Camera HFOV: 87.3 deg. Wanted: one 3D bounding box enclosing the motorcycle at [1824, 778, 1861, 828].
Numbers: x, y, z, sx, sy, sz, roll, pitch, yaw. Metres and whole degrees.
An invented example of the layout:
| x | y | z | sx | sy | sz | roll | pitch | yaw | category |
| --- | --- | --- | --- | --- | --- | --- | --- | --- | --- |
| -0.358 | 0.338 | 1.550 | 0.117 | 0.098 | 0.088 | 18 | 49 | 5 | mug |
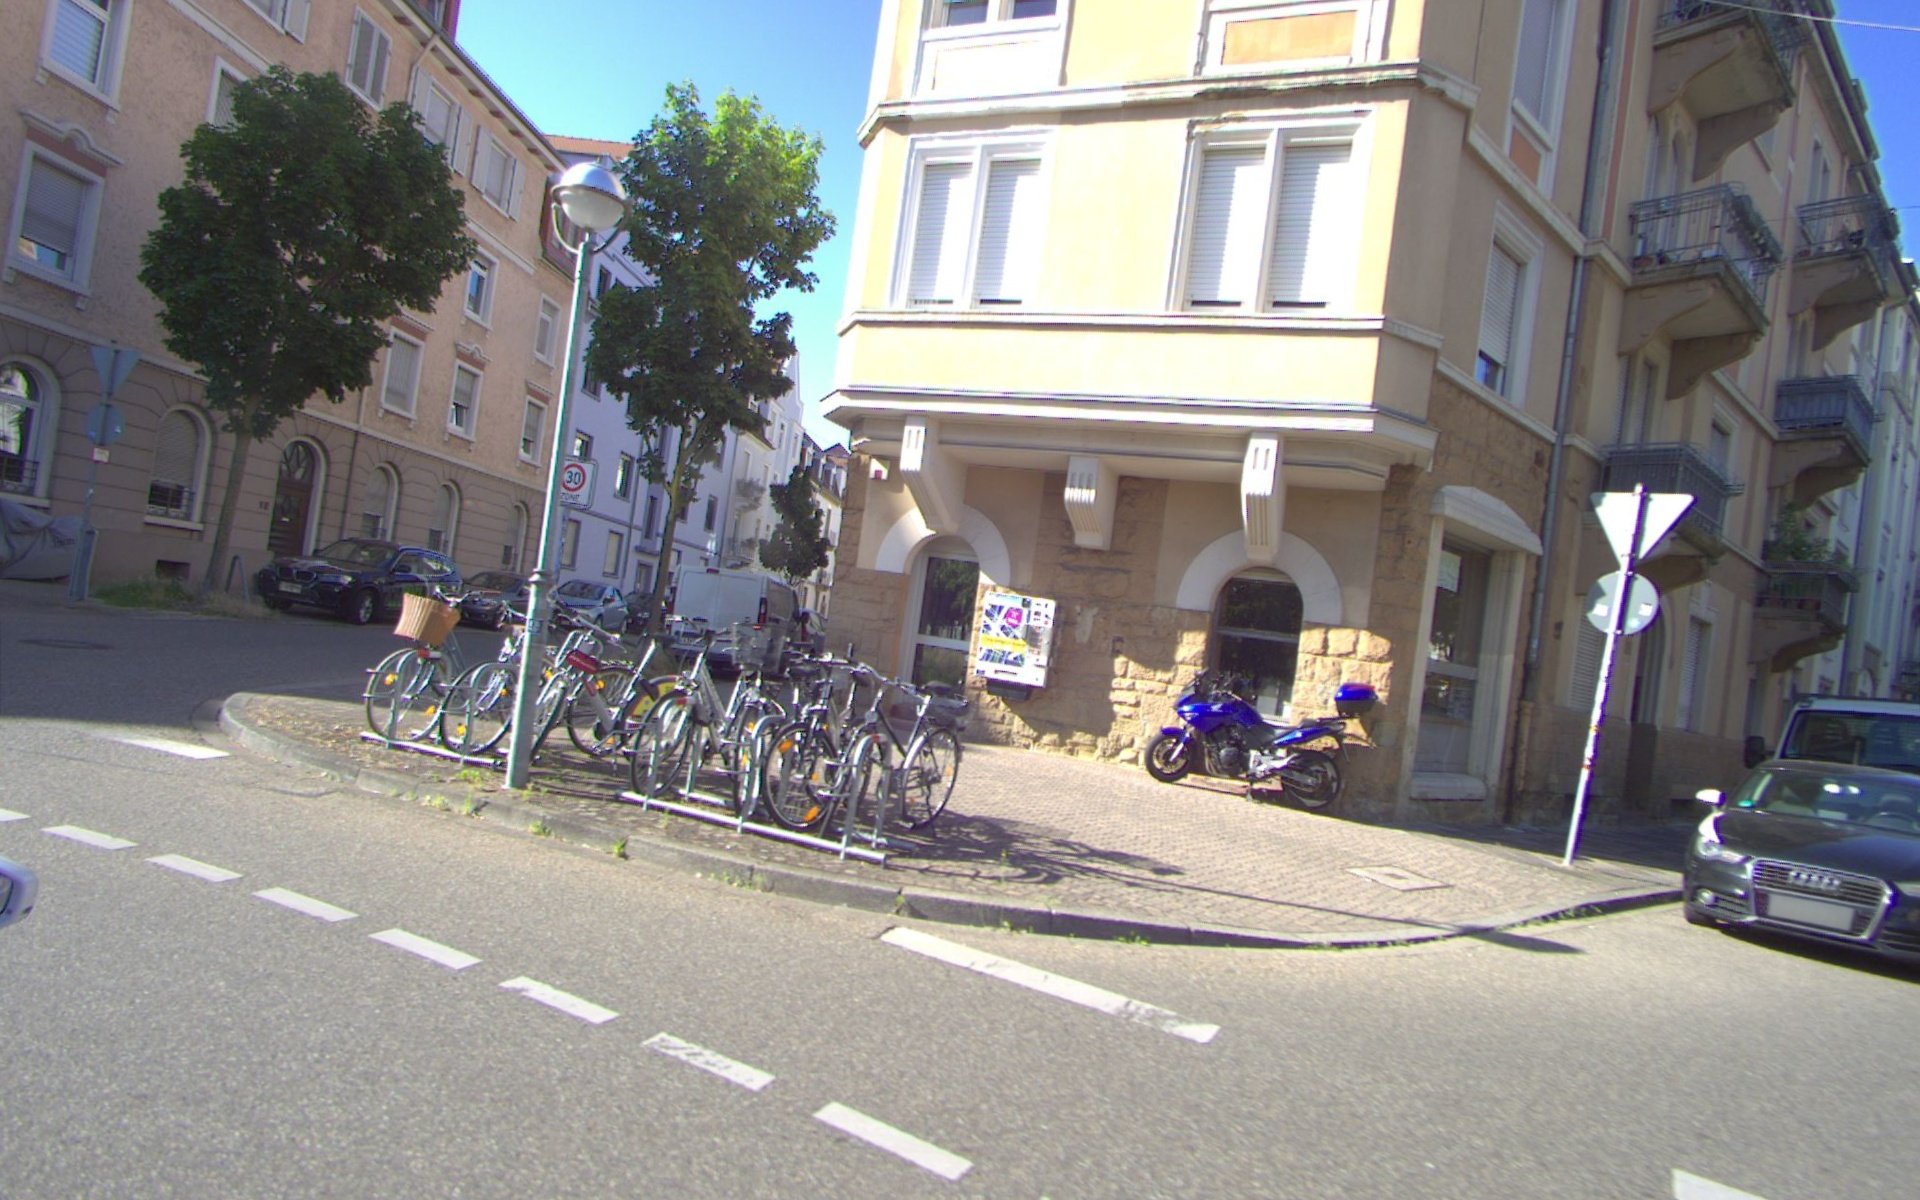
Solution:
| x | y | z | sx | sy | sz | roll | pitch | yaw | category |
| --- | --- | --- | --- | --- | --- | --- | --- | --- | --- |
| 21.969 | 5.025 | 25.034 | 1.790 | 1.120 | 0.494 | 10 | -3 | -44 | motorcycle |

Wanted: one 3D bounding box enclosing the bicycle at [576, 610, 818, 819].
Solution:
| x | y | z | sx | sy | sz | roll | pitch | yaw | category |
| --- | --- | --- | --- | --- | --- | --- | --- | --- | --- |
| -1.691 | 0.743 | 6.793 | 0.605 | 1.158 | 1.698 | 7 | -2 | 19 | bicycle |

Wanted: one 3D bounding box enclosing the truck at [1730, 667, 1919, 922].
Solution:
| x | y | z | sx | sy | sz | roll | pitch | yaw | category |
| --- | --- | --- | --- | --- | --- | --- | --- | --- | --- |
| 11.442 | 2.342 | 12.190 | 6.582 | 2.317 | 2.115 | 10 | -4 | -42 | truck |

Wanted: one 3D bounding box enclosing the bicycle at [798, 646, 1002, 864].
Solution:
| x | y | z | sx | sy | sz | roll | pitch | yaw | category |
| --- | --- | --- | --- | --- | --- | --- | --- | --- | --- |
| -0.307 | 0.923 | 6.374 | 0.474 | 1.136 | 1.720 | 7 | -2 | 22 | bicycle |

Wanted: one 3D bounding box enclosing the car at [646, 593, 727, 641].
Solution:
| x | y | z | sx | sy | sz | roll | pitch | yaw | category |
| --- | --- | --- | --- | --- | --- | --- | --- | --- | --- |
| -10.790 | 0.720 | 39.931 | 1.670 | 1.542 | 3.775 | 8 | -2 | 6 | car |

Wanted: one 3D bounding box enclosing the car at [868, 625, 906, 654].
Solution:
| x | y | z | sx | sy | sz | roll | pitch | yaw | category |
| --- | --- | --- | --- | --- | --- | --- | --- | --- | --- |
| -4.547 | 2.511 | 63.003 | 1.607 | 1.499 | 3.339 | 8 | -2 | 8 | car |

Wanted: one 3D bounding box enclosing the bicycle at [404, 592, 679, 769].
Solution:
| x | y | z | sx | sy | sz | roll | pitch | yaw | category |
| --- | --- | --- | --- | --- | --- | --- | --- | --- | --- |
| -3.005 | 0.610 | 7.460 | 0.526 | 1.102 | 1.878 | 7 | -2 | 27 | bicycle |

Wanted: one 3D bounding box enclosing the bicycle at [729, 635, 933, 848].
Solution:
| x | y | z | sx | sy | sz | roll | pitch | yaw | category |
| --- | --- | --- | --- | --- | --- | --- | --- | --- | --- |
| -0.761 | 0.866 | 6.507 | 0.474 | 1.136 | 1.698 | 7 | -2 | 19 | bicycle |

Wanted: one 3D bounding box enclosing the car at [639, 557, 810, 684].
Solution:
| x | y | z | sx | sy | sz | roll | pitch | yaw | category |
| --- | --- | --- | --- | --- | --- | --- | --- | --- | --- |
| -4.446 | 0.465 | 19.823 | 2.102 | 1.930 | 4.565 | 8 | -2 | 0 | car |

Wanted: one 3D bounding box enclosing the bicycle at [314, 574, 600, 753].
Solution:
| x | y | z | sx | sy | sz | roll | pitch | yaw | category |
| --- | --- | --- | --- | --- | --- | --- | --- | --- | --- |
| -3.740 | 0.510 | 7.696 | 0.687 | 1.142 | 1.869 | 6 | -3 | 21 | bicycle |

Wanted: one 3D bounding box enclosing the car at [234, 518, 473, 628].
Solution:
| x | y | z | sx | sy | sz | roll | pitch | yaw | category |
| --- | --- | --- | --- | --- | --- | --- | --- | --- | --- |
| -12.033 | -0.429 | 20.381 | 1.873 | 1.660 | 4.352 | 8 | -2 | 2 | car |

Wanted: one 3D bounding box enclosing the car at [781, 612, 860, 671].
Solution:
| x | y | z | sx | sy | sz | roll | pitch | yaw | category |
| --- | --- | --- | --- | --- | --- | --- | --- | --- | --- |
| -4.081 | 1.244 | 29.977 | 1.608 | 1.444 | 3.337 | 8 | -2 | 2 | car |

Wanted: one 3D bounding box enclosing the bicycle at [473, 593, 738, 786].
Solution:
| x | y | z | sx | sy | sz | roll | pitch | yaw | category |
| --- | --- | --- | --- | --- | --- | --- | --- | --- | --- |
| -2.453 | 0.642 | 7.192 | 0.627 | 1.158 | 1.696 | 7 | -2 | 27 | bicycle |

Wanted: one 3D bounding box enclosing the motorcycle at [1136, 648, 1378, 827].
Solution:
| x | y | z | sx | sy | sz | roll | pitch | yaw | category |
| --- | --- | --- | --- | --- | --- | --- | --- | --- | --- |
| 3.125 | 1.408 | 10.686 | 2.209 | 1.428 | 0.700 | 9 | 0 | 19 | motorcycle |

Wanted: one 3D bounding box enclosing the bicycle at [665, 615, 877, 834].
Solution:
| x | y | z | sx | sy | sz | roll | pitch | yaw | category |
| --- | --- | --- | --- | --- | --- | --- | --- | --- | --- |
| -1.168 | 0.783 | 6.619 | 0.443 | 1.205 | 1.698 | 7 | -2 | 19 | bicycle |

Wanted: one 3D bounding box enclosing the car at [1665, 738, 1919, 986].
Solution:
| x | y | z | sx | sy | sz | roll | pitch | yaw | category |
| --- | --- | --- | --- | --- | --- | --- | --- | --- | --- |
| 7.284 | 2.020 | 8.275 | 3.901 | 1.405 | 1.668 | 10 | -4 | -44 | car |

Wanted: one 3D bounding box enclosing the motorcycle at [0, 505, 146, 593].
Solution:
| x | y | z | sx | sy | sz | roll | pitch | yaw | category |
| --- | --- | --- | --- | --- | --- | --- | --- | --- | --- |
| -15.428 | -0.859 | 17.224 | 0.925 | 1.234 | 2.156 | 9 | -1 | 6 | motorcycle |

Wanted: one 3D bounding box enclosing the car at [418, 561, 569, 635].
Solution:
| x | y | z | sx | sy | sz | roll | pitch | yaw | category |
| --- | --- | --- | --- | --- | --- | --- | --- | --- | --- |
| -11.640 | 0.021 | 25.387 | 1.670 | 1.427 | 3.668 | 8 | -2 | 6 | car |

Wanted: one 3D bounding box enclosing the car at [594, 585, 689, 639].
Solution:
| x | y | z | sx | sy | sz | roll | pitch | yaw | category |
| --- | --- | --- | --- | --- | --- | --- | --- | --- | --- |
| -11.169 | 0.475 | 35.562 | 1.670 | 1.502 | 3.775 | 8 | -2 | 6 | car |

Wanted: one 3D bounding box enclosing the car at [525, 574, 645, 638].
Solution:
| x | y | z | sx | sy | sz | roll | pitch | yaw | category |
| --- | --- | --- | --- | --- | --- | --- | --- | --- | --- |
| -11.344 | 0.242 | 30.713 | 1.670 | 1.502 | 4.008 | 8 | -2 | 6 | car |

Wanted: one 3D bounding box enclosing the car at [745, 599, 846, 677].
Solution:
| x | y | z | sx | sy | sz | roll | pitch | yaw | category |
| --- | --- | --- | --- | --- | --- | --- | --- | --- | --- |
| -4.047 | 0.982 | 25.331 | 1.608 | 1.590 | 3.742 | 8 | -2 | 2 | car |
